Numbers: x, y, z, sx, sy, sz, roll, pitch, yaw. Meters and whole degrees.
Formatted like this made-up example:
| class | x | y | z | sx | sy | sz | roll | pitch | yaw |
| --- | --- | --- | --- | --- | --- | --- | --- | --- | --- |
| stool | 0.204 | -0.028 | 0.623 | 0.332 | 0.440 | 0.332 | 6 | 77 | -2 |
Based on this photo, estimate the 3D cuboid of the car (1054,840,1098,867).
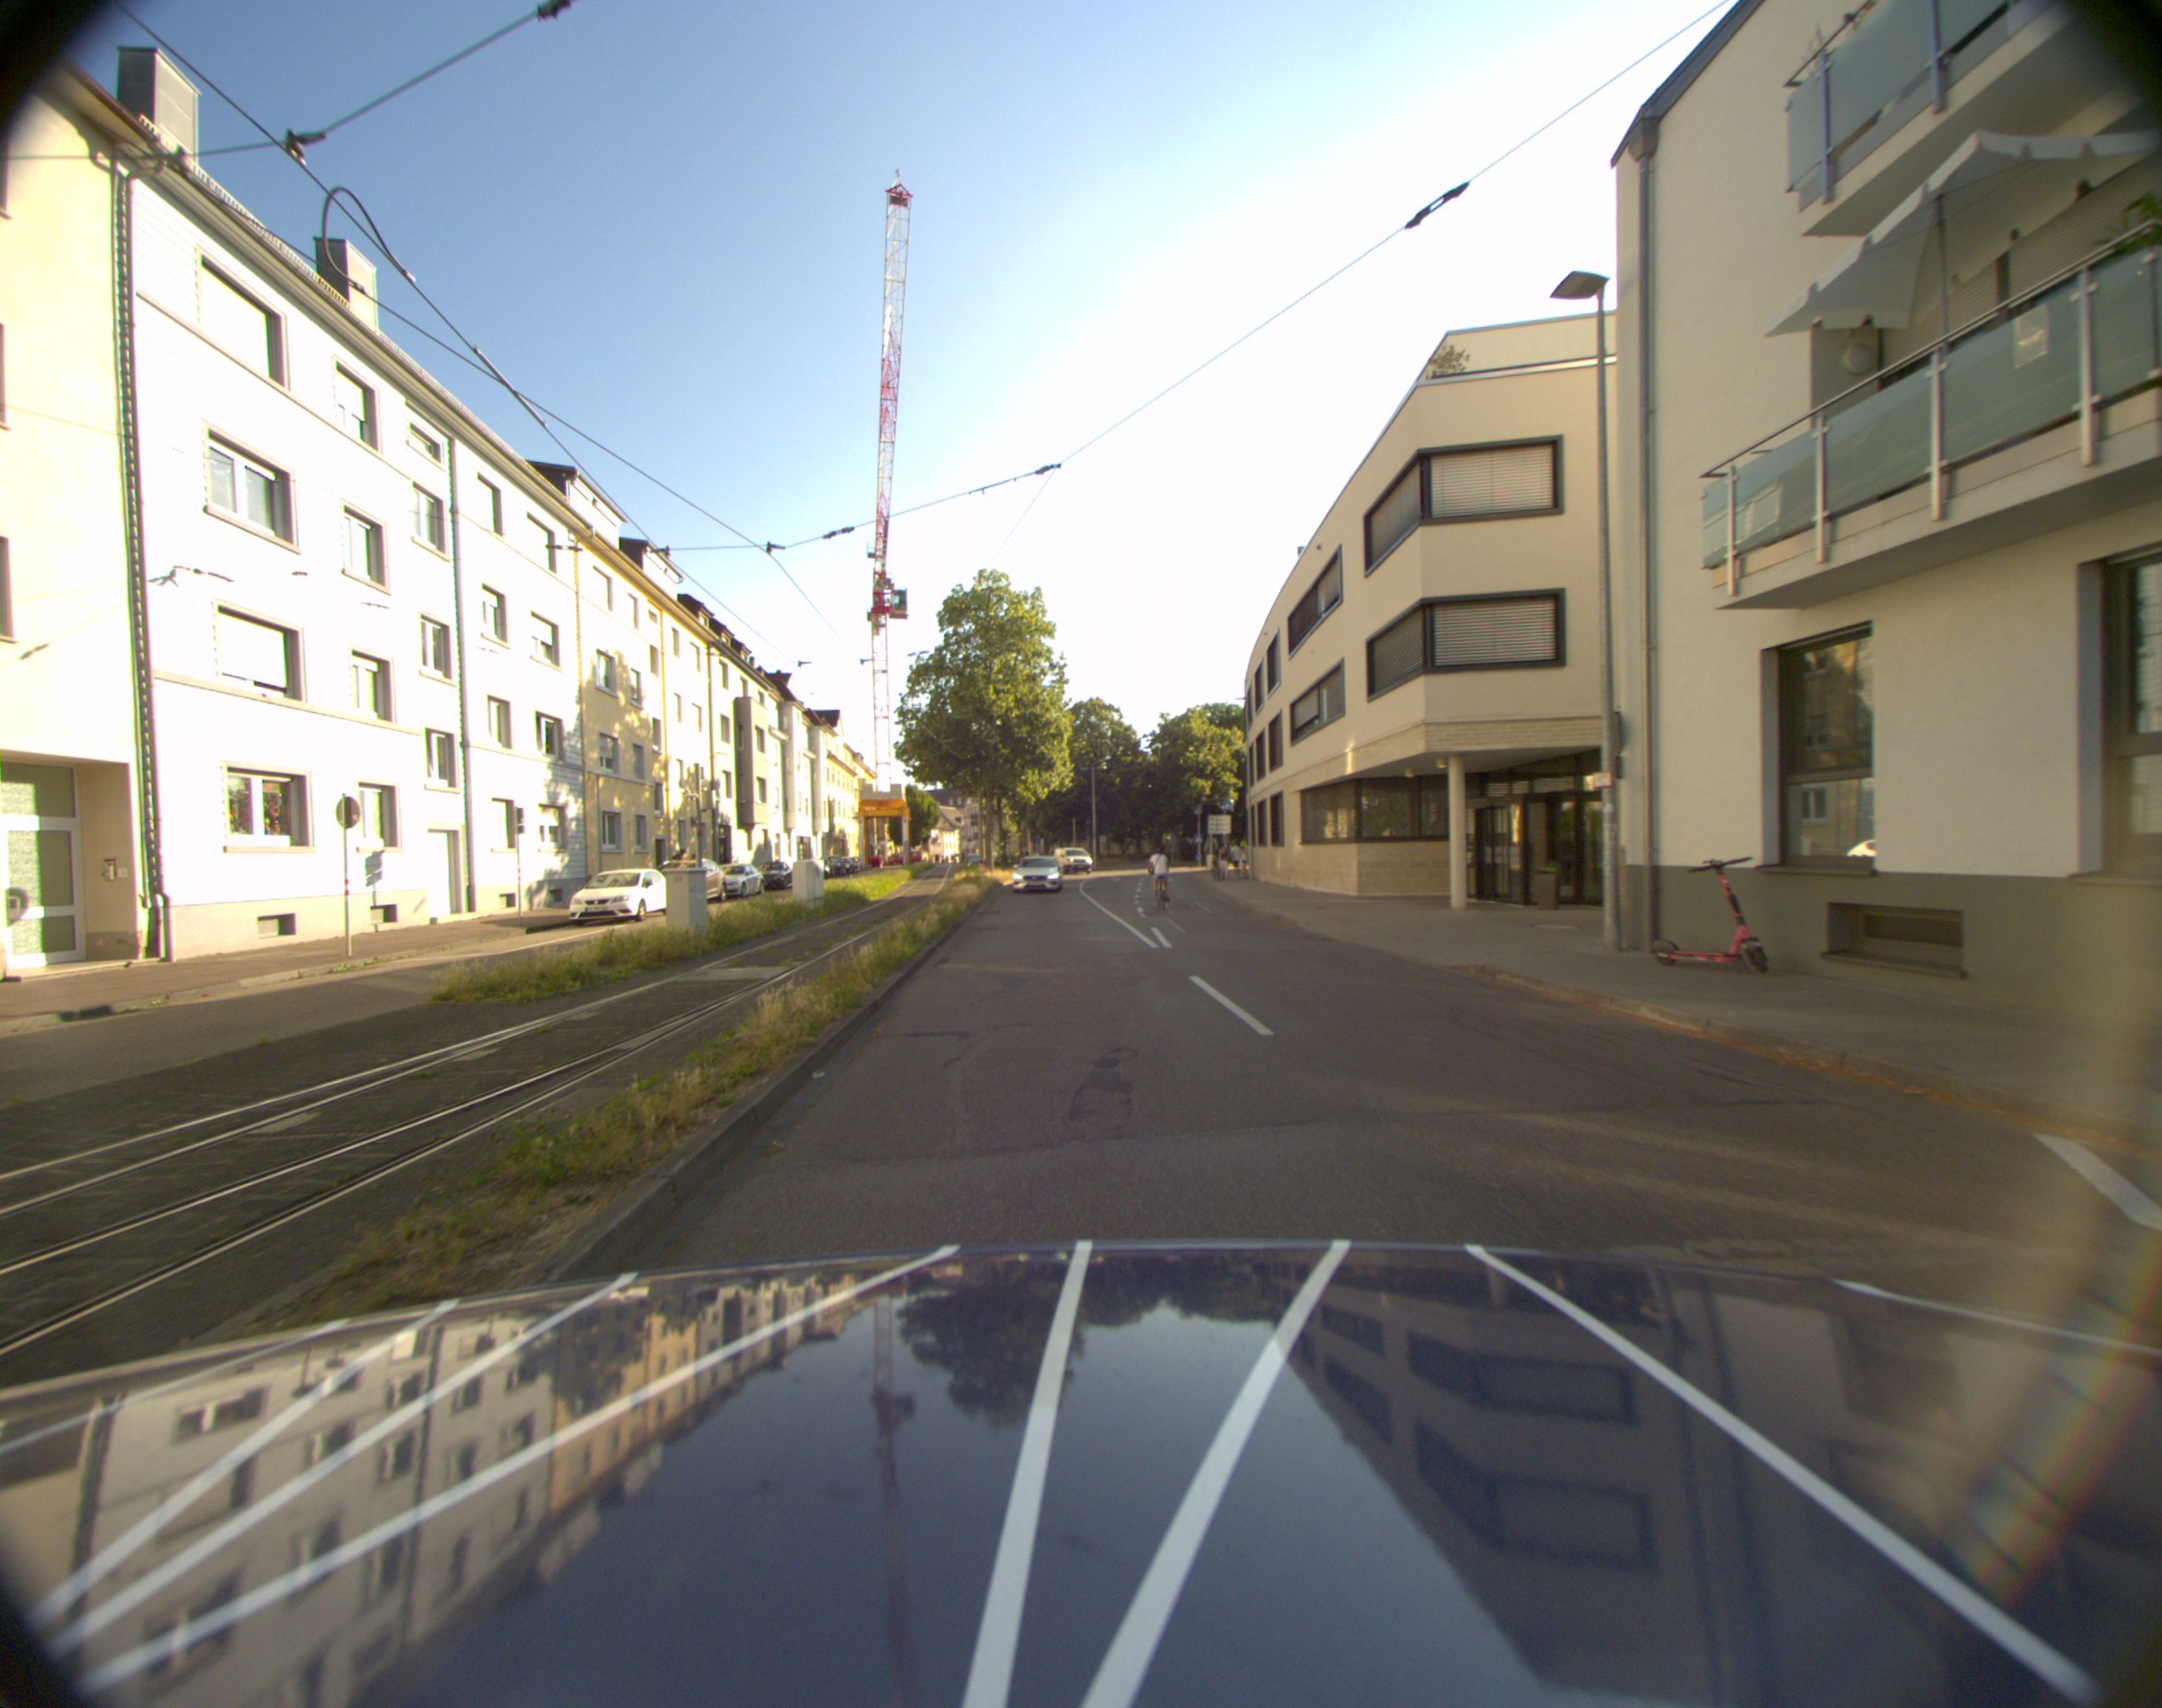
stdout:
| class | x | y | z | sx | sy | sz | roll | pitch | yaw |
| --- | --- | --- | --- | --- | --- | --- | --- | --- | --- |
| car | -0.412 | -0.030 | 55.372 | 2.001 | 1.843 | 4.896 | -1 | 0 | -15 |

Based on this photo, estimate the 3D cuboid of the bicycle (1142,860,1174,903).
| class | x | y | z | sx | sy | sz | roll | pitch | yaw |
| --- | --- | --- | --- | --- | --- | --- | --- | --- | --- |
| bicycle | 2.141 | 0.747 | 21.274 | 0.624 | 1.075 | 1.782 | -1 | 1 | -3 |

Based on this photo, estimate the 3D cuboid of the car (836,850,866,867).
| class | x | y | z | sx | sy | sz | roll | pitch | yaw |
| --- | --- | --- | --- | --- | --- | --- | --- | --- | --- |
| car | -20.458 | 0.383 | 67.772 | 2.000 | 1.444 | 4.093 | -1 | 0 | -10 |

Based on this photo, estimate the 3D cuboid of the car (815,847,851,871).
| class | x | y | z | sx | sy | sz | roll | pitch | yaw |
| --- | --- | --- | --- | --- | --- | --- | --- | --- | --- |
| car | -18.800 | 0.382 | 57.843 | 2.000 | 1.739 | 4.205 | -1 | 0 | -10 |

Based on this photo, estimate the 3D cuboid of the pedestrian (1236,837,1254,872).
| class | x | y | z | sx | sy | sz | roll | pitch | yaw |
| --- | --- | --- | --- | --- | --- | --- | --- | --- | --- |
| pedestrian | 8.272 | 0.011 | 38.420 | 0.704 | 1.704 | 0.843 | -2 | 2 | 4 |

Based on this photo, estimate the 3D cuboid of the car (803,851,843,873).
| class | x | y | z | sx | sy | sz | roll | pitch | yaw |
| --- | --- | --- | --- | --- | --- | --- | --- | --- | --- |
| car | -17.862 | 0.536 | 52.779 | 2.000 | 1.378 | 4.442 | -1 | 0 | -10 |

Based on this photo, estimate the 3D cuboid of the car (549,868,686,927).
| class | x | y | z | sx | sy | sz | roll | pitch | yaw |
| --- | --- | --- | --- | --- | --- | --- | --- | --- | --- |
| car | -12.958 | 1.144 | 21.590 | 2.001 | 1.378 | 4.441 | -1 | 0 | -13 |

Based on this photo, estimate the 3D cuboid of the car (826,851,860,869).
| class | x | y | z | sx | sy | sz | roll | pitch | yaw |
| --- | --- | --- | --- | --- | --- | --- | --- | --- | --- |
| car | -19.620 | 0.491 | 62.862 | 2.000 | 1.378 | 4.206 | -1 | 0 | -8 |

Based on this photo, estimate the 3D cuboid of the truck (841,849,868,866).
| class | x | y | z | sx | sy | sz | roll | pitch | yaw |
| --- | --- | --- | --- | --- | --- | --- | --- | --- | --- |
| truck | -21.797 | 0.335 | 73.323 | 2.000 | 1.576 | 4.093 | -1 | 0 | -10 |

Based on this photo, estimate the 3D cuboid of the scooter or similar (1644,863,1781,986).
| class | x | y | z | sx | sy | sz | roll | pitch | yaw |
| --- | --- | --- | --- | --- | --- | --- | --- | --- | --- |
| scooter or similar | 6.712 | 0.711 | 8.134 | 0.225 | 1.213 | 1.153 | -3 | 0 | -17 |

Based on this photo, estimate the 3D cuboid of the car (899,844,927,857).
| class | x | y | z | sx | sy | sz | roll | pitch | yaw |
| --- | --- | --- | --- | --- | --- | --- | --- | --- | --- |
| car | -25.042 | -0.497 | 113.179 | 4.073 | 1.910 | 1.998 | -1 | 0 | -12 |

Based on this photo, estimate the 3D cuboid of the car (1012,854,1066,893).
| class | x | y | z | sx | sy | sz | roll | pitch | yaw |
| --- | --- | --- | --- | --- | --- | --- | --- | --- | --- |
| car | -1.663 | 0.767 | 31.644 | 1.853 | 1.455 | 4.773 | -1 | 0 | 1 |

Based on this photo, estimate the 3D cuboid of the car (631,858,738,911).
| class | x | y | z | sx | sy | sz | roll | pitch | yaw |
| --- | --- | --- | --- | --- | --- | --- | --- | --- | --- |
| car | -13.810 | 0.984 | 26.779 | 2.000 | 1.563 | 4.636 | -1 | 1 | -10 |

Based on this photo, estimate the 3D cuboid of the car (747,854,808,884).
| class | x | y | z | sx | sy | sz | roll | pitch | yaw |
| --- | --- | --- | --- | --- | --- | --- | --- | --- | --- |
| car | -15.495 | 0.732 | 39.033 | 2.000 | 1.378 | 4.442 | -1 | 0 | -10 |

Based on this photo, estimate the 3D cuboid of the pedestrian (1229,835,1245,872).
| class | x | y | z | sx | sy | sz | roll | pitch | yaw |
| --- | --- | --- | --- | --- | --- | --- | --- | --- | --- |
| pedestrian | 7.905 | -0.048 | 38.466 | 0.606 | 1.838 | 0.993 | -2 | 2 | 4 |

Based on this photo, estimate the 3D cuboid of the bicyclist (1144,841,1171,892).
| class | x | y | z | sx | sy | sz | roll | pitch | yaw |
| --- | --- | --- | --- | --- | --- | --- | --- | --- | --- |
| bicyclist | 2.136 | 0.337 | 21.188 | 0.624 | 1.372 | 0.800 | -1 | 2 | -3 |

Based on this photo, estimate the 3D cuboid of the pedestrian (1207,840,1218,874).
| class | x | y | z | sx | sy | sz | roll | pitch | yaw |
| --- | --- | --- | --- | --- | --- | --- | --- | --- | --- |
| pedestrian | 6.507 | 0.155 | 37.627 | 0.474 | 1.638 | 0.603 | 2 | 2 | 15 |

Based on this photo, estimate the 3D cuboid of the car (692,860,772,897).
| class | x | y | z | sx | sy | sz | roll | pitch | yaw |
| --- | --- | --- | --- | --- | --- | --- | --- | --- | --- |
| car | -14.653 | 0.986 | 32.156 | 2.000 | 1.378 | 4.442 | -1 | 0 | -10 |

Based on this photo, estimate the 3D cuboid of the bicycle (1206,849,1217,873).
| class | x | y | z | sx | sy | sz | roll | pitch | yaw |
| --- | --- | --- | --- | --- | --- | --- | --- | --- | --- |
| bicycle | 6.491 | 0.349 | 37.690 | 0.441 | 1.171 | 1.969 | -2 | 0 | 12 |
